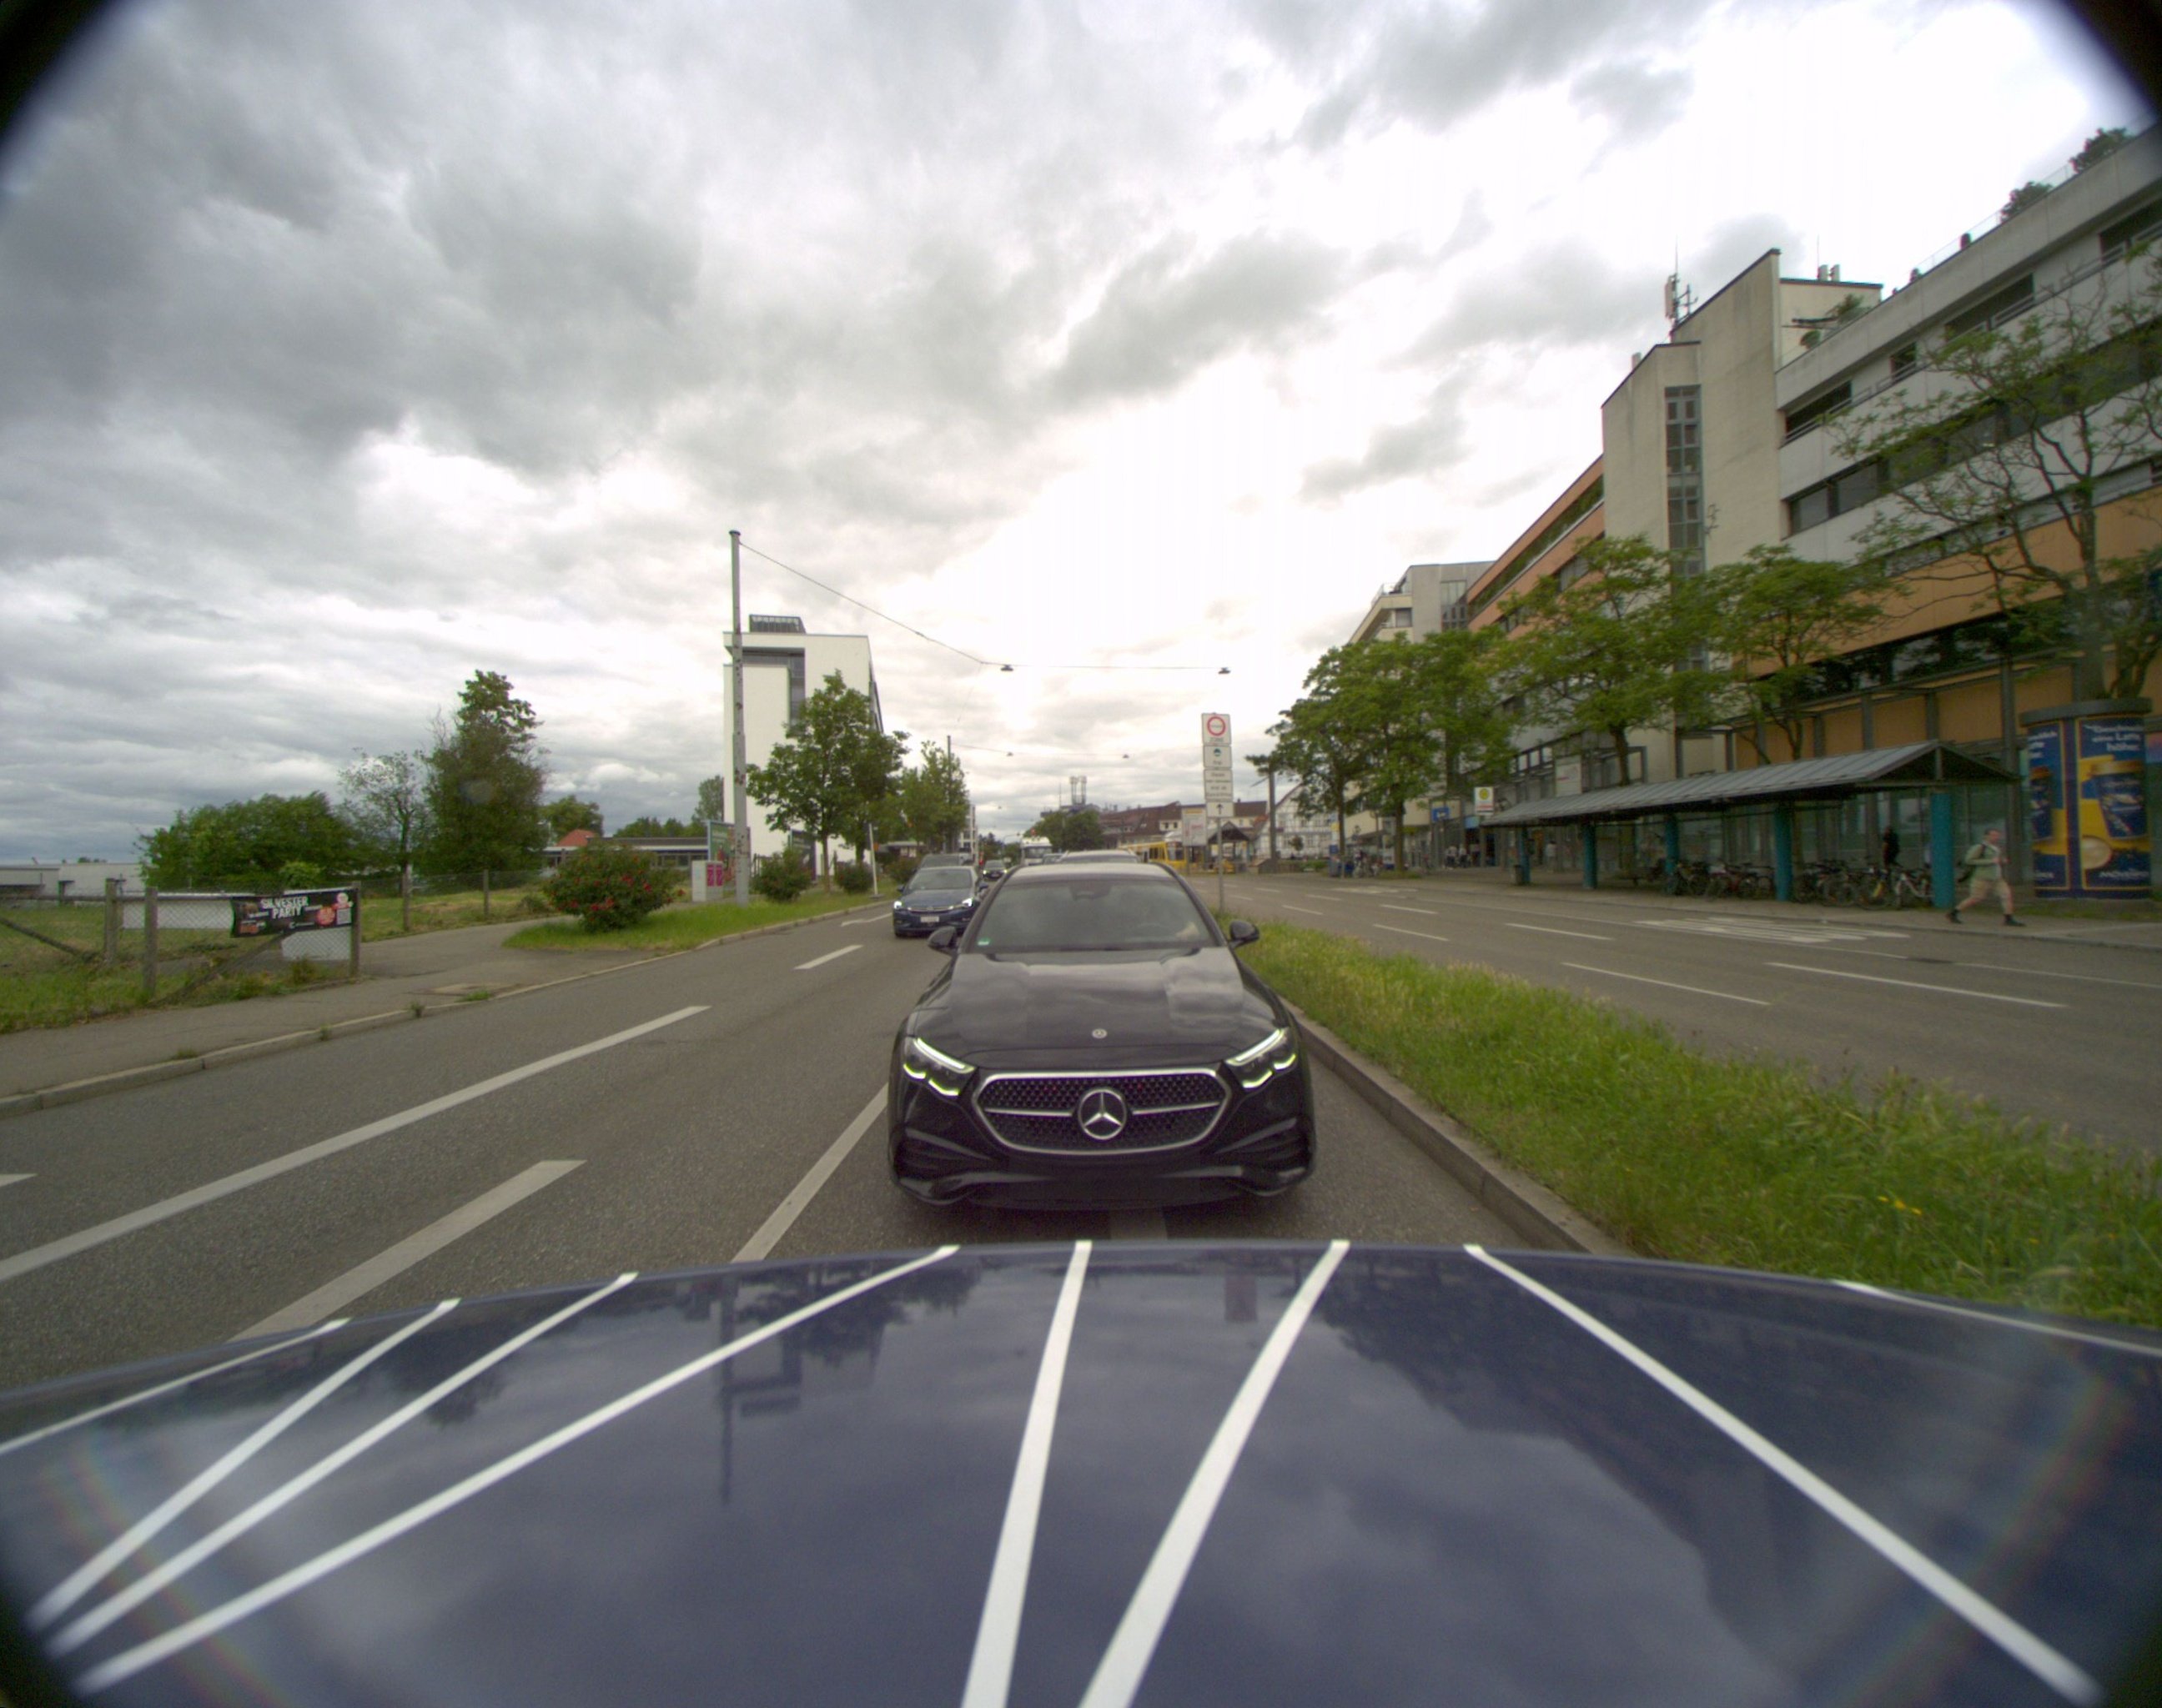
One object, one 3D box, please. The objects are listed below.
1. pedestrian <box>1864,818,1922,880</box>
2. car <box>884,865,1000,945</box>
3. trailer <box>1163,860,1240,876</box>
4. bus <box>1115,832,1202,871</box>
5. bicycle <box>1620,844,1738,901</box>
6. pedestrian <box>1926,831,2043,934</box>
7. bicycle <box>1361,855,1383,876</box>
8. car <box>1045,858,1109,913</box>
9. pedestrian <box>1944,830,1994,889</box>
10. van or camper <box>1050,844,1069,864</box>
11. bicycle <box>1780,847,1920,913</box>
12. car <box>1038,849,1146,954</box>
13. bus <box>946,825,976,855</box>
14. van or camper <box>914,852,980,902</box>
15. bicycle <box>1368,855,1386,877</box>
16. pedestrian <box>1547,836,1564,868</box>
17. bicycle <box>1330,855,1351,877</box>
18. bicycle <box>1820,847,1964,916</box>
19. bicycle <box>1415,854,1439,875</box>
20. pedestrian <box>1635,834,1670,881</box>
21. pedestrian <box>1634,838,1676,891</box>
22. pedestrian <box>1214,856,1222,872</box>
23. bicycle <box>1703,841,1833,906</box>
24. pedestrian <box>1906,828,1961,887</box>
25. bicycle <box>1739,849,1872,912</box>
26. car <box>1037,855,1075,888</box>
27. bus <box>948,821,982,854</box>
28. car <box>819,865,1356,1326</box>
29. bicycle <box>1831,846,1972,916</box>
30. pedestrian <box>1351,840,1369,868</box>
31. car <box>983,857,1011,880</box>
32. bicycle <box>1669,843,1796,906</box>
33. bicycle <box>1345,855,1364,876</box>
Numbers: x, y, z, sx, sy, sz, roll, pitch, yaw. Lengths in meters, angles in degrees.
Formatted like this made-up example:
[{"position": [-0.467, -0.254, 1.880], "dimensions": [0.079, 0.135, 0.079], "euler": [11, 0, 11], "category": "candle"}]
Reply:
[{"position": [26.846, -0.161, 25.137], "dimensions": [0.899, 2.002, 0.934], "euler": [-1, 1, -5], "category": "pedestrian"}, {"position": [-2.975, 1.031, 17.181], "dimensions": [1.735, 1.474, 4.369], "euler": [-2, 0, 0], "category": "car"}, {"position": [10.647, 1.232, 68.934], "dimensions": [2.851, 1.325, 12.115], "euler": [-1, -1, -12], "category": "trailer"}, {"position": [8.098, -0.132, 84.464], "dimensions": [3.891, 3.836, 19.323], "euler": [-1, -1, -12], "category": "bus"}, {"position": [17.714, 0.539, 22.521], "dimensions": [2.908, 1.498, 0.972], "euler": [-3, 0, -8], "category": "bicycle"}, {"position": [16.919, 0.510, 14.260], "dimensions": [0.705, 1.812, 1.213], "euler": [-3, 1, -3], "category": "pedestrian"}, {"position": [16.448, 0.650, 42.962], "dimensions": [0.604, 1.154, 1.966], "euler": [-1, -1, 4], "category": "bicycle"}, {"position": [-0.103, 0.904, 23.468], "dimensions": [1.735, 1.474, 4.369], "euler": [-2, 0, 0], "category": "car"}, {"position": [24.644, 0.153, 21.097], "dimensions": [0.634, 1.591, 0.622], "euler": [-3, 0, -5], "category": "pedestrian"}, {"position": [-2.950, 0.048, 104.498], "dimensions": [2.039, 2.582, 6.112], "euler": [1, -1, -7], "category": "van or camper"}, {"position": [18.412, 0.612, 18.207], "dimensions": [2.908, 1.498, 0.778], "euler": [-1, 0, -8], "category": "bicycle"}, {"position": [0.192, 0.792, 14.788], "dimensions": [1.735, 1.680, 4.369], "euler": [-2, 0, 0], "category": "car"}, {"position": [-14.357, -1.613, 90.327], "dimensions": [3.047, 3.216, 9.329], "euler": [-1, -1, -12], "category": "bus"}, {"position": [-5.482, 0.884, 31.648], "dimensions": [1.809, 1.867, 4.849], "euler": [-2, 0, 0], "category": "van or camper"}, {"position": [16.165, 0.635, 41.523], "dimensions": [0.603, 1.154, 1.693], "euler": [-1, -1, 31], "category": "bicycle"}, {"position": [24.056, -0.114, 38.522], "dimensions": [0.633, 1.591, 0.624], "euler": [-3, 1, 25], "category": "pedestrian"}, {"position": [14.797, 0.657, 43.311], "dimensions": [0.603, 1.154, 1.969], "euler": [-3, -1, 33], "category": "bicycle"}, {"position": [18.489, 0.608, 17.336], "dimensions": [2.908, 1.498, 0.700], "euler": [-1, 0, -8], "category": "bicycle"}, {"position": [19.229, 0.564, 42.217], "dimensions": [0.672, 1.154, 2.023], "euler": [-1, -1, 39], "category": "bicycle"}, {"position": [21.794, 0.123, 28.992], "dimensions": [0.774, 1.706, 0.787], "euler": [-3, 1, 17], "category": "pedestrian"}, {"position": [19.086, 0.337, 25.281], "dimensions": [0.777, 1.703, 0.706], "euler": [-3, 1, -6], "category": "pedestrian"}, {"position": [13.641, 1.009, 75.891], "dimensions": [0.601, 1.564, 0.620], "euler": [-1, 0, -10], "category": "pedestrian"}, {"position": [18.187, 0.510, 20.133], "dimensions": [2.908, 1.498, 0.811], "euler": [-4, 0, -7], "category": "bicycle"}, {"position": [23.784, 0.088, 21.209], "dimensions": [0.668, 1.574, 0.706], "euler": [-3, 1, -6], "category": "pedestrian"}, {"position": [18.311, 0.648, 19.219], "dimensions": [2.908, 1.498, 0.805], "euler": [-1, 0, -8], "category": "bicycle"}, {"position": [-1.215, 0.841, 38.789], "dimensions": [1.735, 1.544, 4.369], "euler": [-2, 0, 0], "category": "car"}, {"position": [-12.489, -1.648, 81.088], "dimensions": [2.993, 3.222, 9.856], "euler": [-1, 0, -12], "category": "bus"}, {"position": [-0.032, 0.913, 5.180], "dimensions": [1.873, 1.542, 4.773], "euler": [-4, -1, -2], "category": "car"}, {"position": [18.501, 0.585, 17.137], "dimensions": [2.908, 1.498, 0.598], "euler": [-1, 0, -8], "category": "bicycle"}, {"position": [18.554, -0.011, 50.544], "dimensions": [0.747, 1.866, 0.873], "euler": [-1, 0, -8], "category": "pedestrian"}, {"position": [-6.098, 1.021, 54.611], "dimensions": [1.736, 1.474, 4.365], "euler": [-2, 0, -9], "category": "car"}, {"position": [18.013, 0.542, 21.027], "dimensions": [2.908, 1.498, 0.891], "euler": [-4, 1, -8], "category": "bicycle"}, {"position": [15.338, 0.653, 42.613], "dimensions": [0.603, 1.154, 1.969], "euler": [-1, -1, 32], "category": "bicycle"}]
